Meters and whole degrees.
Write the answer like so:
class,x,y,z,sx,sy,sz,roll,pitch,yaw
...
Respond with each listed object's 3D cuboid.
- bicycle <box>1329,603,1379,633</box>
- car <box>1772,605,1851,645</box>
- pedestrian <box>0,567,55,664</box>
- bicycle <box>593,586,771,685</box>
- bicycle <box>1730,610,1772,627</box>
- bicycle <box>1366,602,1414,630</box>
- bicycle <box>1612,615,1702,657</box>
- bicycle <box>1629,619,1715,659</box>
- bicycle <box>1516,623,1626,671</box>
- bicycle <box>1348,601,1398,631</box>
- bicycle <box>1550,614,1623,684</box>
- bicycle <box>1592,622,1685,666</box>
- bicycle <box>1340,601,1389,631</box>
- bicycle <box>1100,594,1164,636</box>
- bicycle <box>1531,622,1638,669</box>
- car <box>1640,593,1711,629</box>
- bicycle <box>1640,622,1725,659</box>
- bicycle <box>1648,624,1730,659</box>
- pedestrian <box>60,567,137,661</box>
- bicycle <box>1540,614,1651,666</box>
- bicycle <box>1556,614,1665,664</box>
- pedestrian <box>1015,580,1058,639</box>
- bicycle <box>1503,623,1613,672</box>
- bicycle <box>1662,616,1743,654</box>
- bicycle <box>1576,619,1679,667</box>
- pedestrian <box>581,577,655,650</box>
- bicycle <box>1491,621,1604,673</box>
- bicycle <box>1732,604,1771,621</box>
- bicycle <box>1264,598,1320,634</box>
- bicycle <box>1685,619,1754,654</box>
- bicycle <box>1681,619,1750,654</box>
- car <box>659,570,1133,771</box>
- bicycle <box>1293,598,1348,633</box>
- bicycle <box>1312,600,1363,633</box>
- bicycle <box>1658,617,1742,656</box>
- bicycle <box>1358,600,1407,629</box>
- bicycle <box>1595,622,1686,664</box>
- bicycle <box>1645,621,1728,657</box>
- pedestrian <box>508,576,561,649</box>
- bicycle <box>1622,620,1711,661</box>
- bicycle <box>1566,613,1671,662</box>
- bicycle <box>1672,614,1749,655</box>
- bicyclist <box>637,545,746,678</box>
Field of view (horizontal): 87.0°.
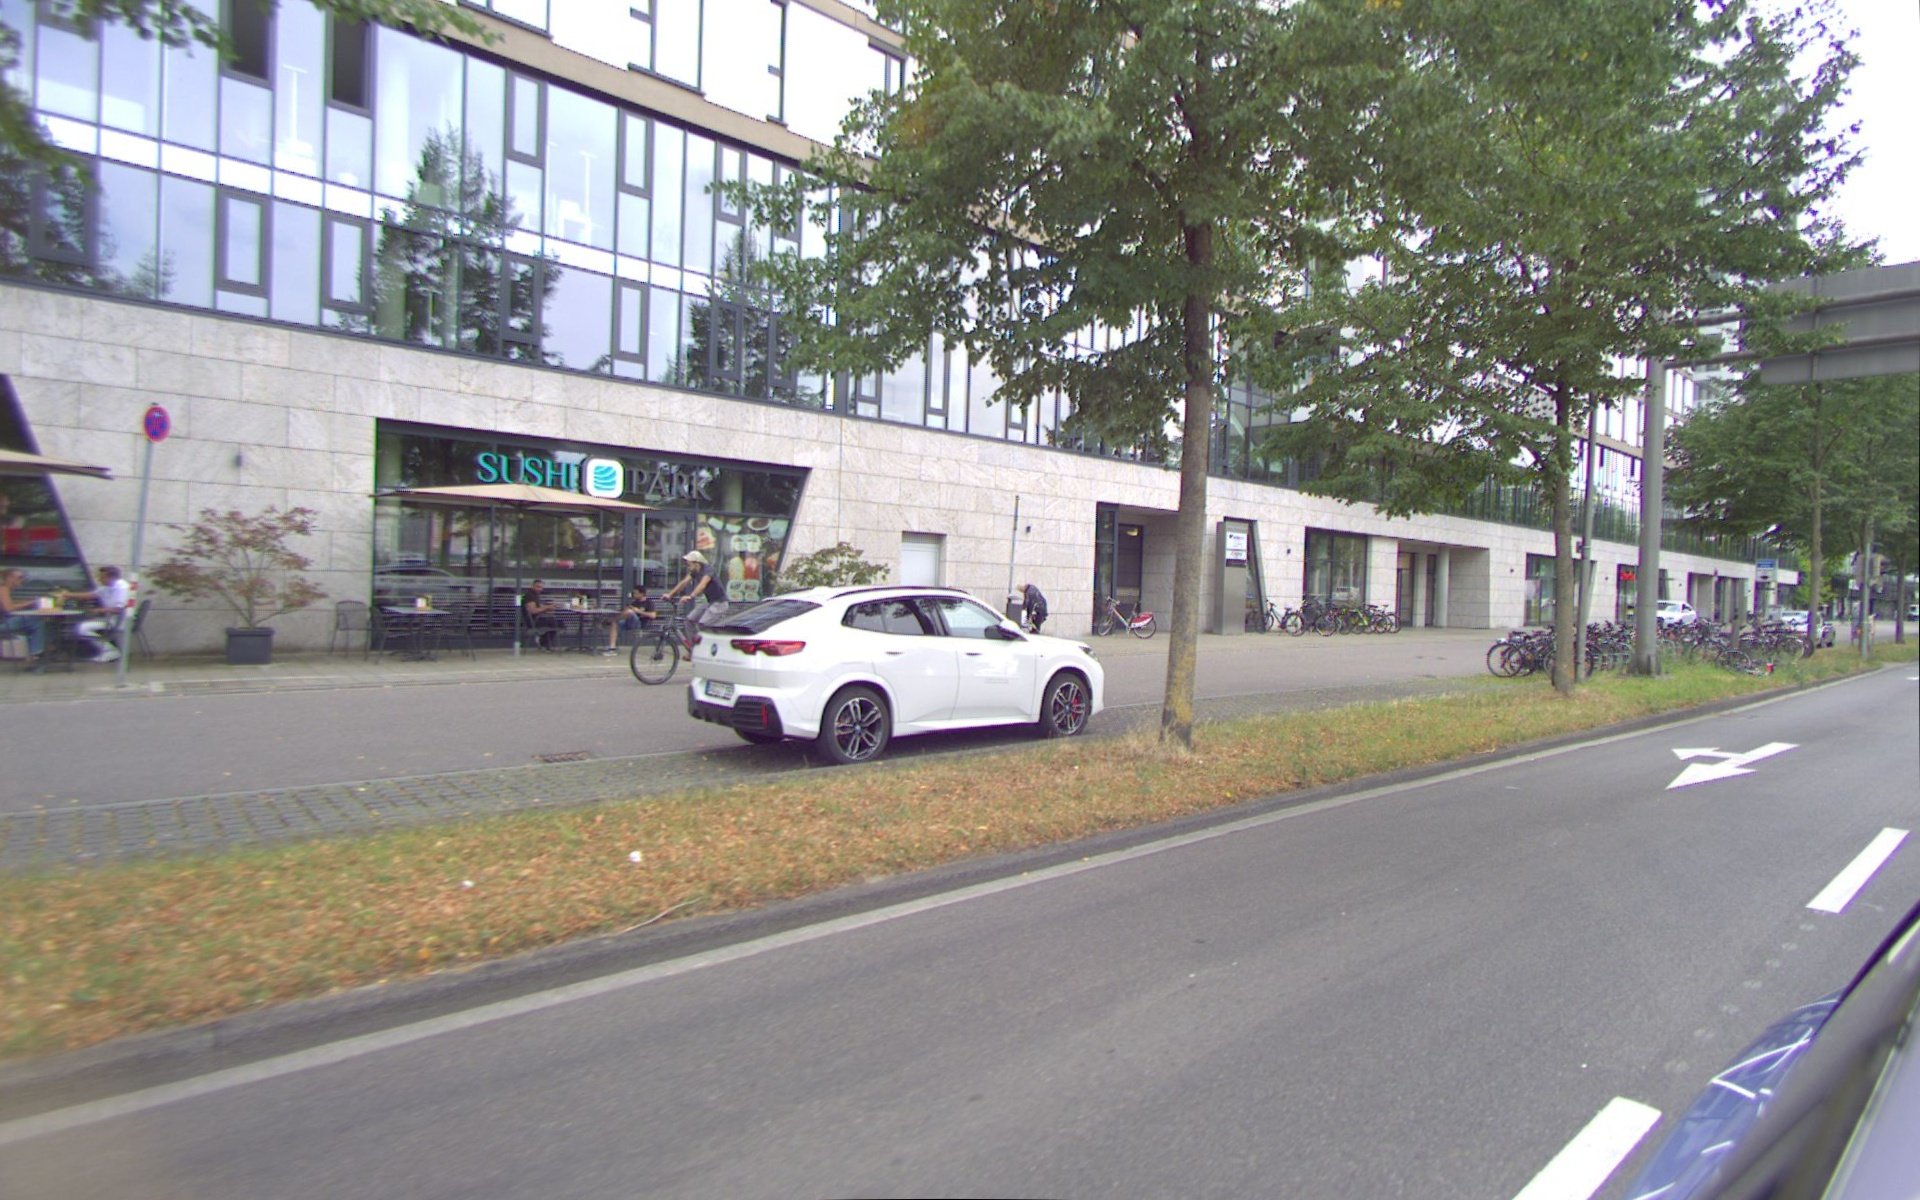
class,x,y,z,sx,sy,sz,roll,pitch,yaw
bicycle,13.666,0.611,35.137,0.524,0.965,1.531,1,1,-43
car,33.802,0.968,40.143,4.109,1.439,1.764,1,1,-41
pedestrian,-12.151,0.183,13.009,0.745,1.207,0.720,1,1,-41
bicycle,-3.903,0.467,14.336,2.229,1.250,0.903,1,2,-42
bicycle,60.373,1.385,77.228,2.417,1.191,1.185,3,1,42
bicycle,15.760,0.576,37.118,0.524,0.965,1.531,1,1,-43
bicycle,17.072,0.882,24.821,1.742,0.987,0.600,-2,-2,42
bicycle,18.150,0.998,25.809,1.713,0.987,0.600,-2,-2,42
bicycle,12.826,0.971,21.293,0.642,0.963,1.862,1,-2,-43
bicycle,14.710,0.566,36.078,0.524,0.965,1.531,1,1,-43
bicycle,10.782,0.806,17.375,0.709,1.130,2.170,-2,-2,41
bicycle,15.984,1.027,23.872,1.742,0.987,0.600,-2,-2,42
bicycle,14.257,0.546,35.694,0.524,0.965,1.531,1,1,-43
bicycle,4.671,0.401,27.442,1.585,1.039,0.606,3,2,23
bicycle,13.396,0.971,21.748,0.602,0.963,1.862,1,-2,-43
car,35.472,0.545,50.161,4.165,1.607,1.862,1,4,-41
bicycle,18.680,1.047,26.186,1.713,0.917,0.580,-2,-2,42
bicycle,19.507,1.097,27.106,1.713,0.917,0.580,-2,-2,42
pedestrian,-11.514,0.177,13.552,0.745,1.207,0.720,1,1,-39
bicycle,13.914,0.869,22.191,0.693,1.079,1.931,1,-2,-43
bicycle,14.523,0.868,22.626,0.631,1.079,1.931,1,-2,-43
pedestrian,1.889,0.229,24.932,0.707,1.424,0.759,1,1,-33
bicycle,12.268,0.961,20.815,0.493,0.963,1.862,1,-2,-43
bicycle,20.555,0.959,28.031,1.770,1.025,0.601,-1,-1,42
bicycle,15.469,0.982,23.498,1.927,1.079,0.535,-2,-2,41
pedestrian,-5.846,0.224,17.297,1.083,1.207,0.776,1,1,-26
bicycle,11.792,0.931,20.364,0.564,1.008,1.862,1,-2,-43
bicycle,59.612,0.902,76.273,2.231,1.191,0.961,2,1,43
bicycle,10.468,0.491,31.916,0.524,1.039,1.599,1,2,-43
bicycle,21.753,1.022,28.996,0.476,0.965,1.530,1,-1,-43
bicycle,22.154,1.060,29.694,0.543,0.965,1.530,1,-1,-43
car,-0.480,0.564,10.236,4.512,1.571,1.942,1,1,-41
bicycle,11.777,0.508,33.105,0.524,1.039,1.599,1,2,-43
bicycle,12.856,0.538,34.458,0.524,1.039,1.531,1,1,-43
bicycle,20.103,0.976,27.511,1.770,1.025,0.601,-2,-2,42
bicycle,15.302,0.530,36.675,0.524,0.965,1.531,1,1,-43
bicycle,16.361,1.028,24.370,1.742,0.987,0.600,-2,-2,42
bicycle,19.106,1.011,26.648,1.713,0.917,0.580,-2,-2,42
pedestrian,-7.188,0.204,17.126,0.743,1.207,0.723,1,1,-19
bicycle,17.693,1.000,25.361,1.742,0.987,0.600,-2,-2,42
bicycle,15.033,0.855,23.135,1.927,1.079,0.535,-2,-2,41
bicycle,21.173,0.952,28.563,0.516,1.104,1.669,1,-1,-43
bicyclist,-3.827,0.138,14.415,1.110,1.758,0.999,1,4,-42
